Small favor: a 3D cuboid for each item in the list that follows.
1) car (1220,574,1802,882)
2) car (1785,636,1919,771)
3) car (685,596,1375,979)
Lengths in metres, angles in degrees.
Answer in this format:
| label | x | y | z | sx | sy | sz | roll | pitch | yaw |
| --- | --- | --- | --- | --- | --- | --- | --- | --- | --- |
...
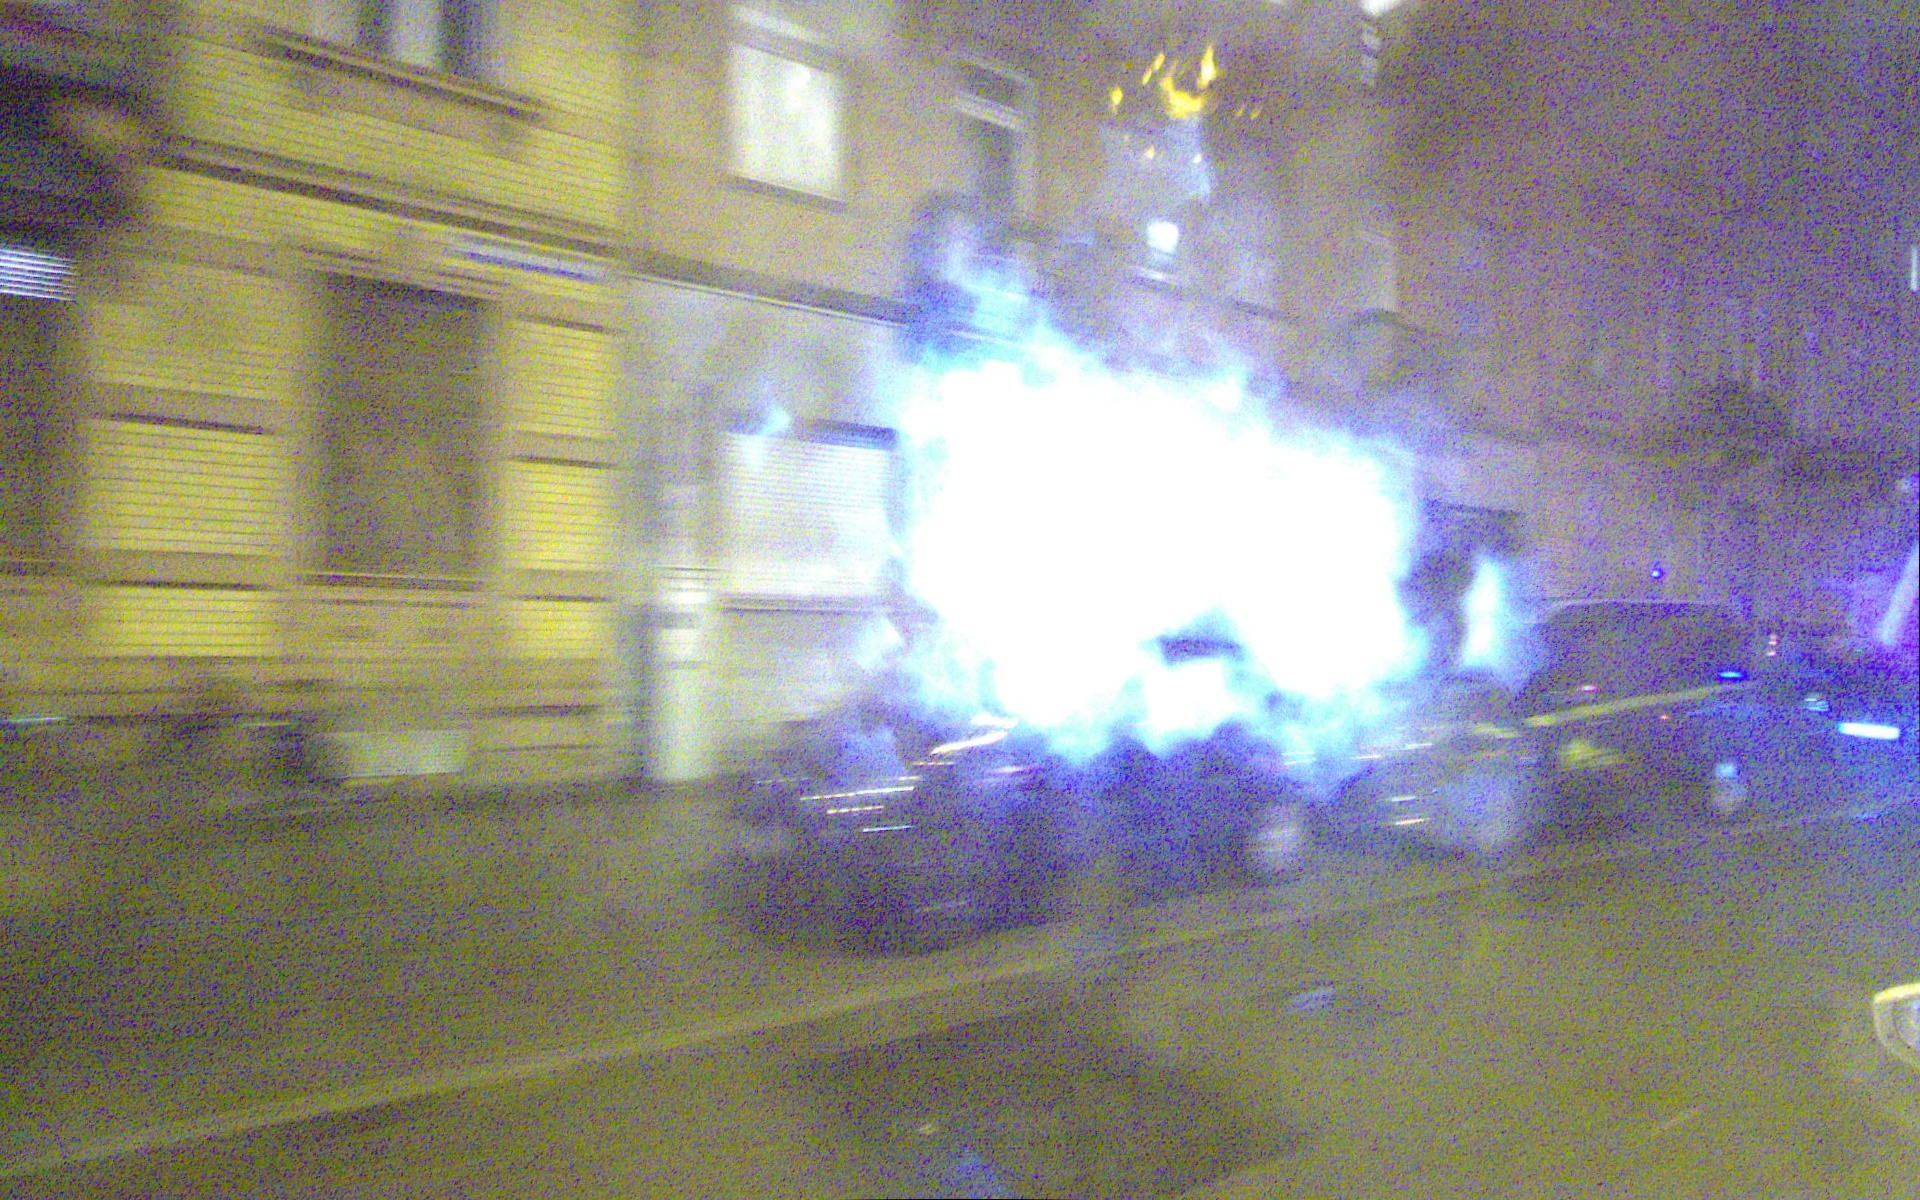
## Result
| label | x | y | z | sx | sy | sz | roll | pitch | yaw |
| --- | --- | --- | --- | --- | --- | --- | --- | --- | --- |
| car | 4.535 | 0.832 | 8.077 | 4.772 | 1.853 | 1.894 | 2 | -1 | -30 |
| car | 12.184 | 1.238 | 12.660 | 3.676 | 1.479 | 1.562 | 2 | -1 | -30 |
| car | 0.469 | 0.828 | 5.856 | 3.676 | 1.596 | 1.719 | 2 | -1 | -30 |
